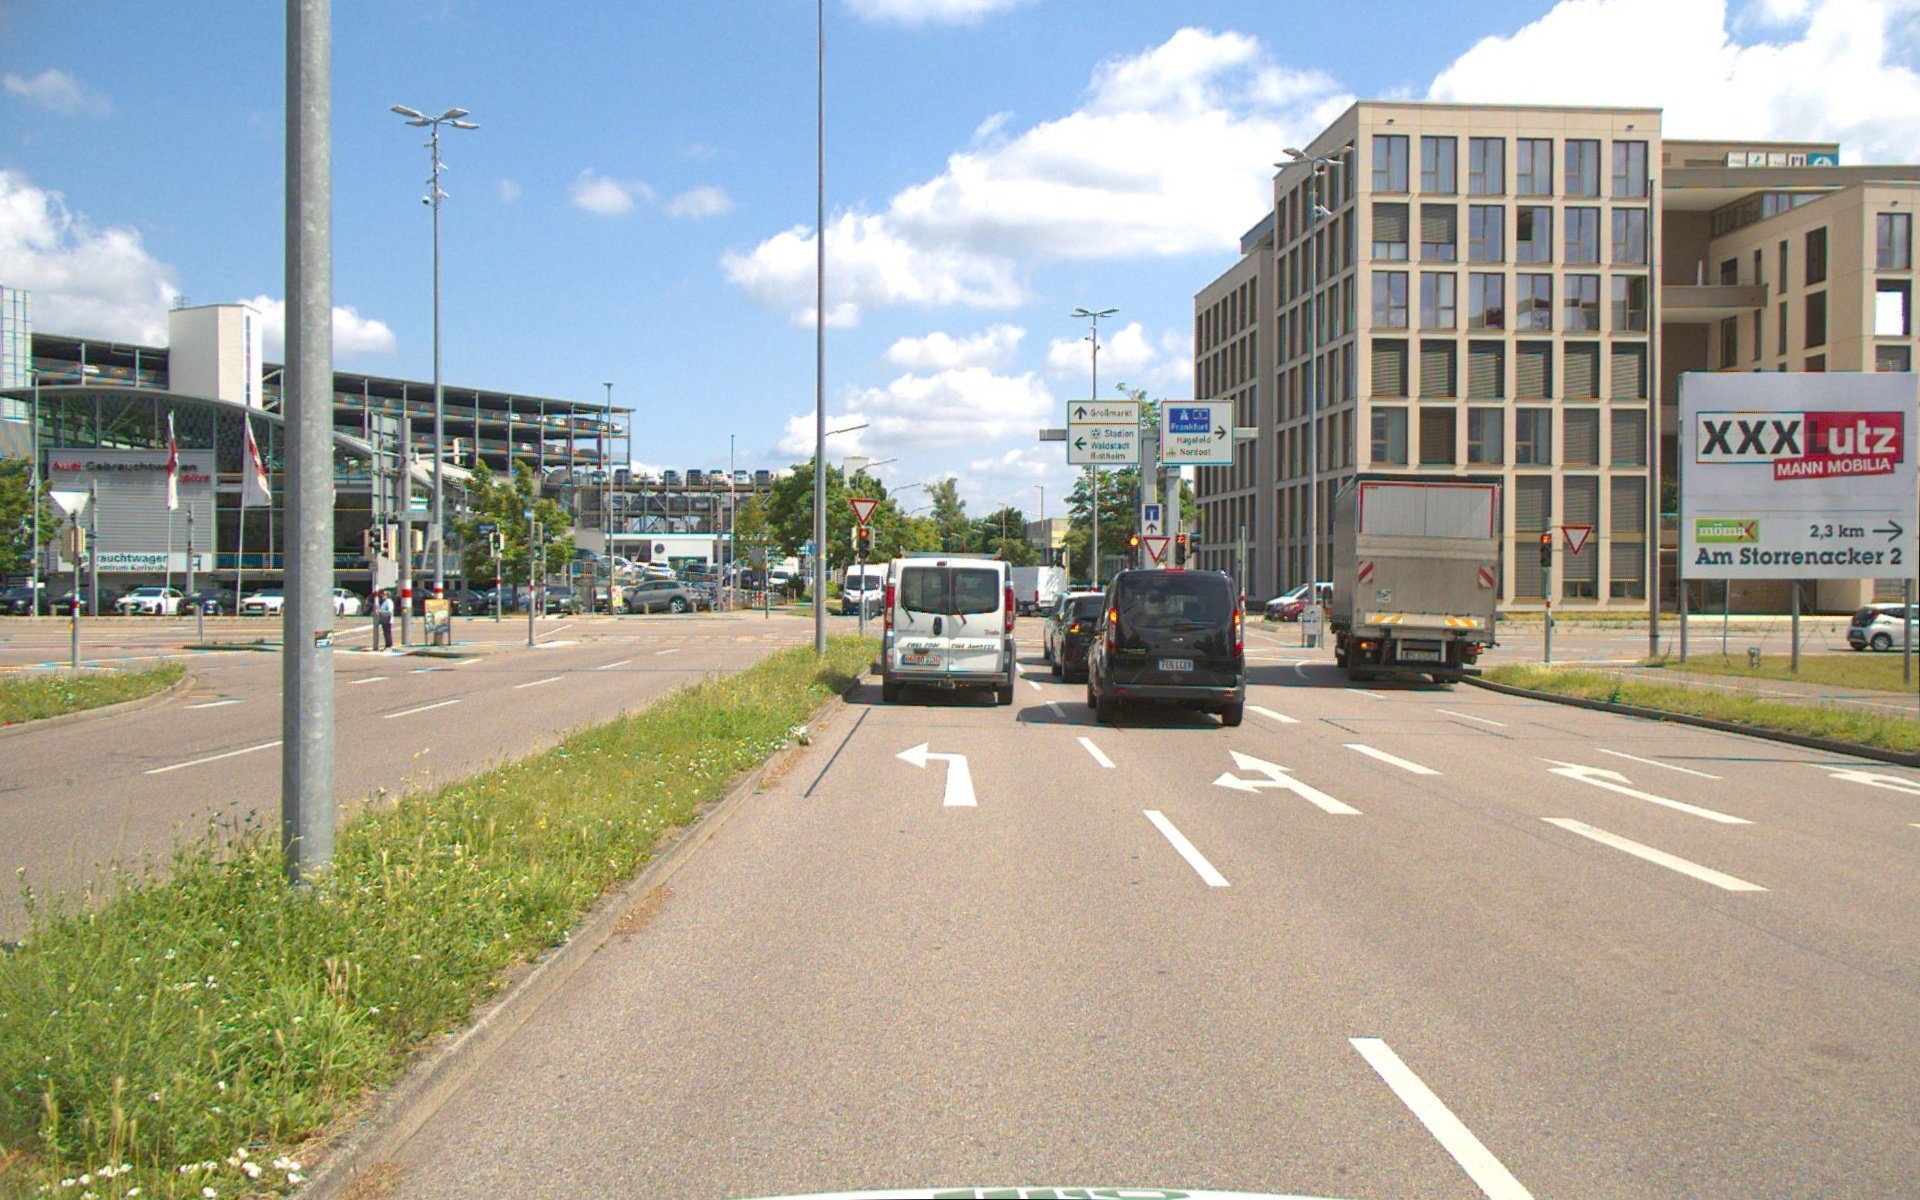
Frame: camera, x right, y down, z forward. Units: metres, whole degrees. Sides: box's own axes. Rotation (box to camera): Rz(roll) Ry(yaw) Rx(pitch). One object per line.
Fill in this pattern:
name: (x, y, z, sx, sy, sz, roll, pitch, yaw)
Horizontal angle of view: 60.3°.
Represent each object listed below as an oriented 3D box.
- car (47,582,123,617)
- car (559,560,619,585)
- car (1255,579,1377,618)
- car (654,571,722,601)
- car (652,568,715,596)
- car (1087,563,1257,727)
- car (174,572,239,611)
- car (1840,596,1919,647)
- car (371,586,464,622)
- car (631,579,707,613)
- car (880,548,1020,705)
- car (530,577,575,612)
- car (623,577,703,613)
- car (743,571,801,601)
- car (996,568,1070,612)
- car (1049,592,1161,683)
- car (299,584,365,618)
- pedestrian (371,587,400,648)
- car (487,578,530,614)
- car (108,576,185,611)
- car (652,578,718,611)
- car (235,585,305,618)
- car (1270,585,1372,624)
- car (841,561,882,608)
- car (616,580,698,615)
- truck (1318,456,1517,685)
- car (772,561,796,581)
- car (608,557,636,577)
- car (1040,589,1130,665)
car: (-39.643, -0.029, 75.023, 1.693, 1.512, 3.698, 1, 1, -4)
car: (-27.131, -2.003, 120.937, 4.085, 1.743, 1.687, 1, 0, -6)
car: (15.748, -0.087, 73.225, 4.890, 1.635, 1.996, 1, 1, -9)
car: (-16.470, -0.839, 100.272, 3.835, 1.742, 1.687, -1, 1, -4)
car: (-18.823, -1.255, 112.740, 4.085, 1.742, 1.687, 2, 1, -7)
car: (2.605, 0.505, 21.134, 1.782, 1.840, 4.001, 1, 0, 2)
car: (-34.190, -0.405, 75.126, 1.724, 1.689, 3.610, 1, 1, -8)
car: (29.600, 0.669, 51.240, 3.772, 1.492, 1.695, 1, 1, -1)
car: (-24.849, 0.184, 75.839, 3.718, 1.539, 1.677, 1, 1, -6)
car: (-15.622, -0.238, 89.054, 3.835, 1.742, 1.687, -1, 1, -4)
car: (-0.076, 0.352, 23.984, 1.817, 2.053, 4.001, 1, 0, 1)
car: (-18.979, -0.265, 76.928, 1.788, 1.579, 3.981, 1, 0, -17)
car: (-15.150, -0.278, 84.467, 3.835, 1.742, 1.687, -1, 1, -4)
car: (-12.866, -0.927, 113.307, 3.911, 1.959, 1.824, 1, 0, -7)
car: (3.920, -0.555, 90.492, 1.966, 2.294, 5.479, 0, 1, -22)
car: (2.587, 0.645, 30.257, 1.704, 1.521, 4.000, 1, 0, 0)
car: (-28.835, 0.038, 76.083, 1.741, 1.475, 4.026, 1, 1, -4)
pedestrian: (-14.772, 0.448, 42.519, 0.460, 1.538, 0.511, 1, 0, 24)
car: (-20.886, -0.199, 76.377, 1.788, 1.579, 3.981, 1, 0, -17)
car: (-36.870, -0.316, 75.038, 1.842, 1.512, 3.698, 1, 1, -4)
car: (-15.371, -0.313, 92.473, 3.439, 1.742, 1.602, -1, 1, -4)
car: (-31.553, 0.048, 75.747, 1.870, 1.400, 3.749, 1, 1, -4)
car: (15.044, 0.173, 69.085, 3.815, 1.516, 1.794, 1, 1, -2)
car: (-5.097, -0.811, 85.009, 1.933, 2.295, 4.975, -1, 1, -5)
car: (-15.005, -0.137, 82.028, 3.785, 1.668, 1.856, -1, 1, -4)
truck: (9.026, -0.552, 33.626, 3.063, 4.009, 8.866, 1, 0, 10)
car: (-14.280, -2.386, 134.433, 1.810, 1.556, 3.996, 1, 1, -5)
car: (-27.646, -2.706, 135.369, 1.810, 1.556, 3.996, 1, 1, -5)
car: (2.752, 0.572, 37.095, 1.704, 1.570, 4.000, 1, 0, 0)
